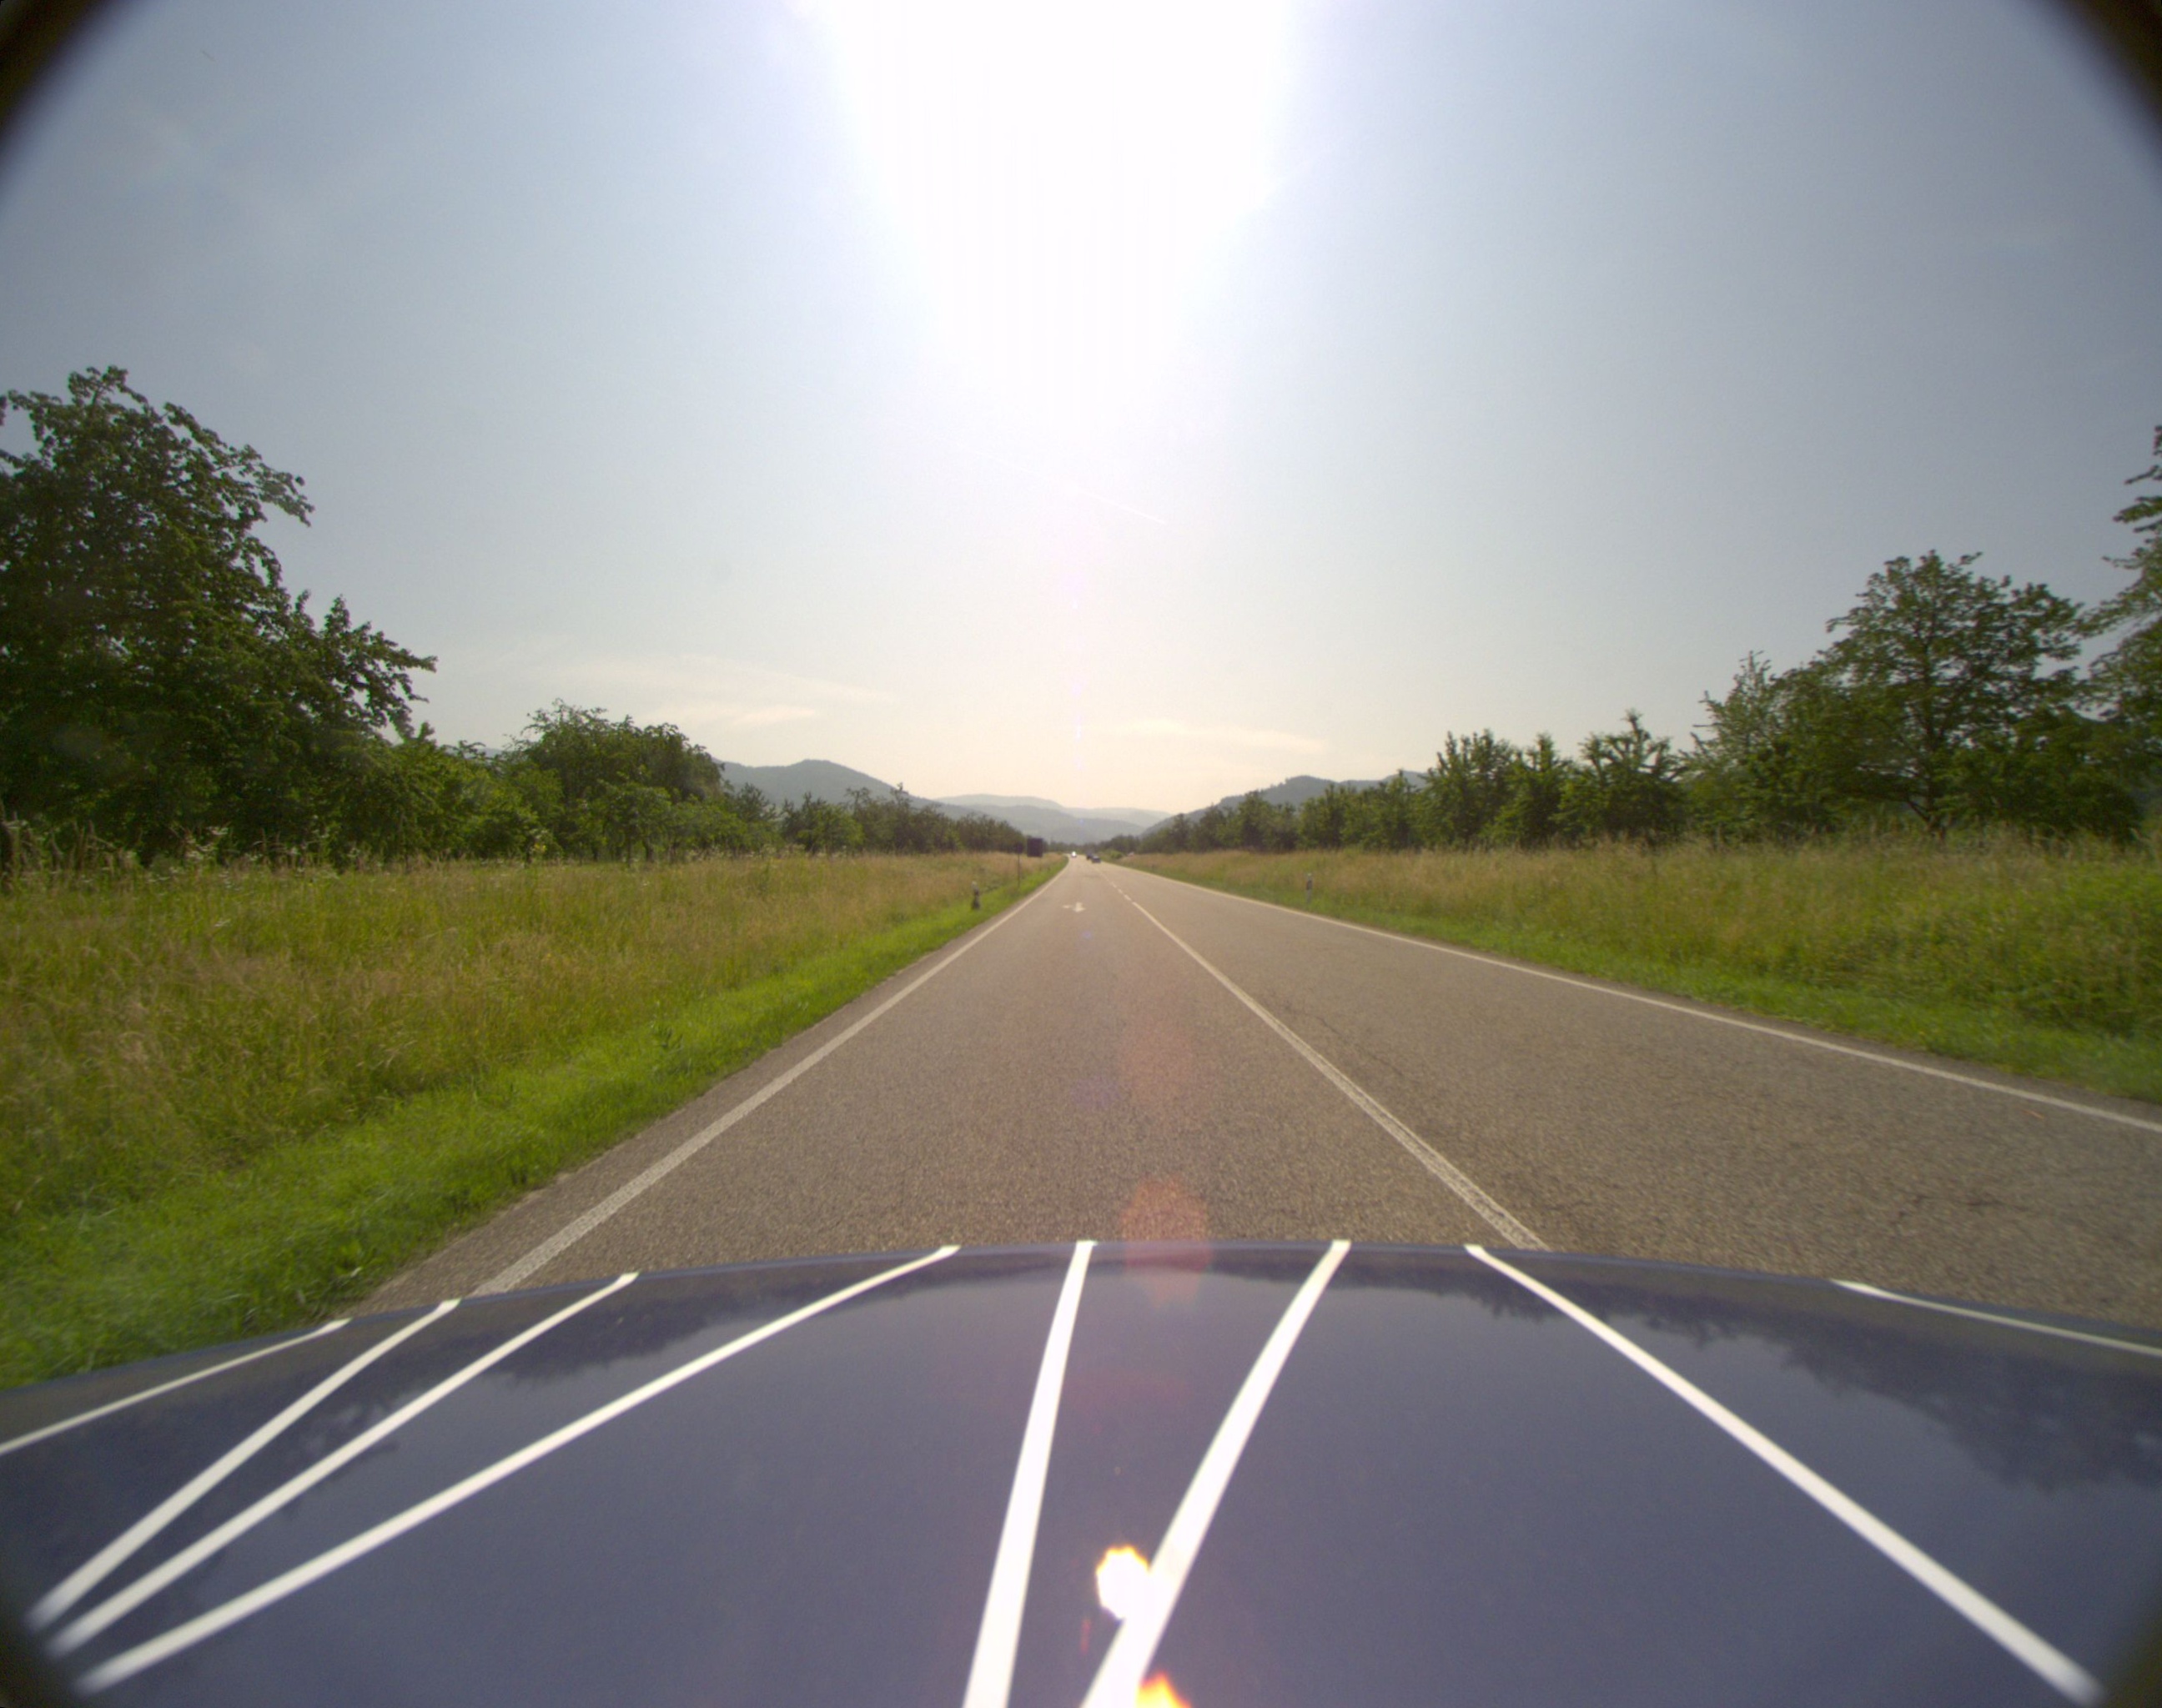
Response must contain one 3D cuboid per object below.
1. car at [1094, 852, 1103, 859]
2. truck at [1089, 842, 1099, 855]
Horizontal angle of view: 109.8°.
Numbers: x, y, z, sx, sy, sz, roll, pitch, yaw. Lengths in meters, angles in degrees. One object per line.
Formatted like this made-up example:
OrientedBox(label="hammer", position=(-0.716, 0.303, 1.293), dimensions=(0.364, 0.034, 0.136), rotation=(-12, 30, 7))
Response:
OrientedBox(label="car", position=(3.639, 0.388, 159.959), dimensions=(1.694, 1.400, 4.893), rotation=(-1, 0, -1))
OrientedBox(label="truck", position=(3.784, -1.618, 227.321), dimensions=(2.671, 3.816, 10.207), rotation=(-1, 0, 0))
